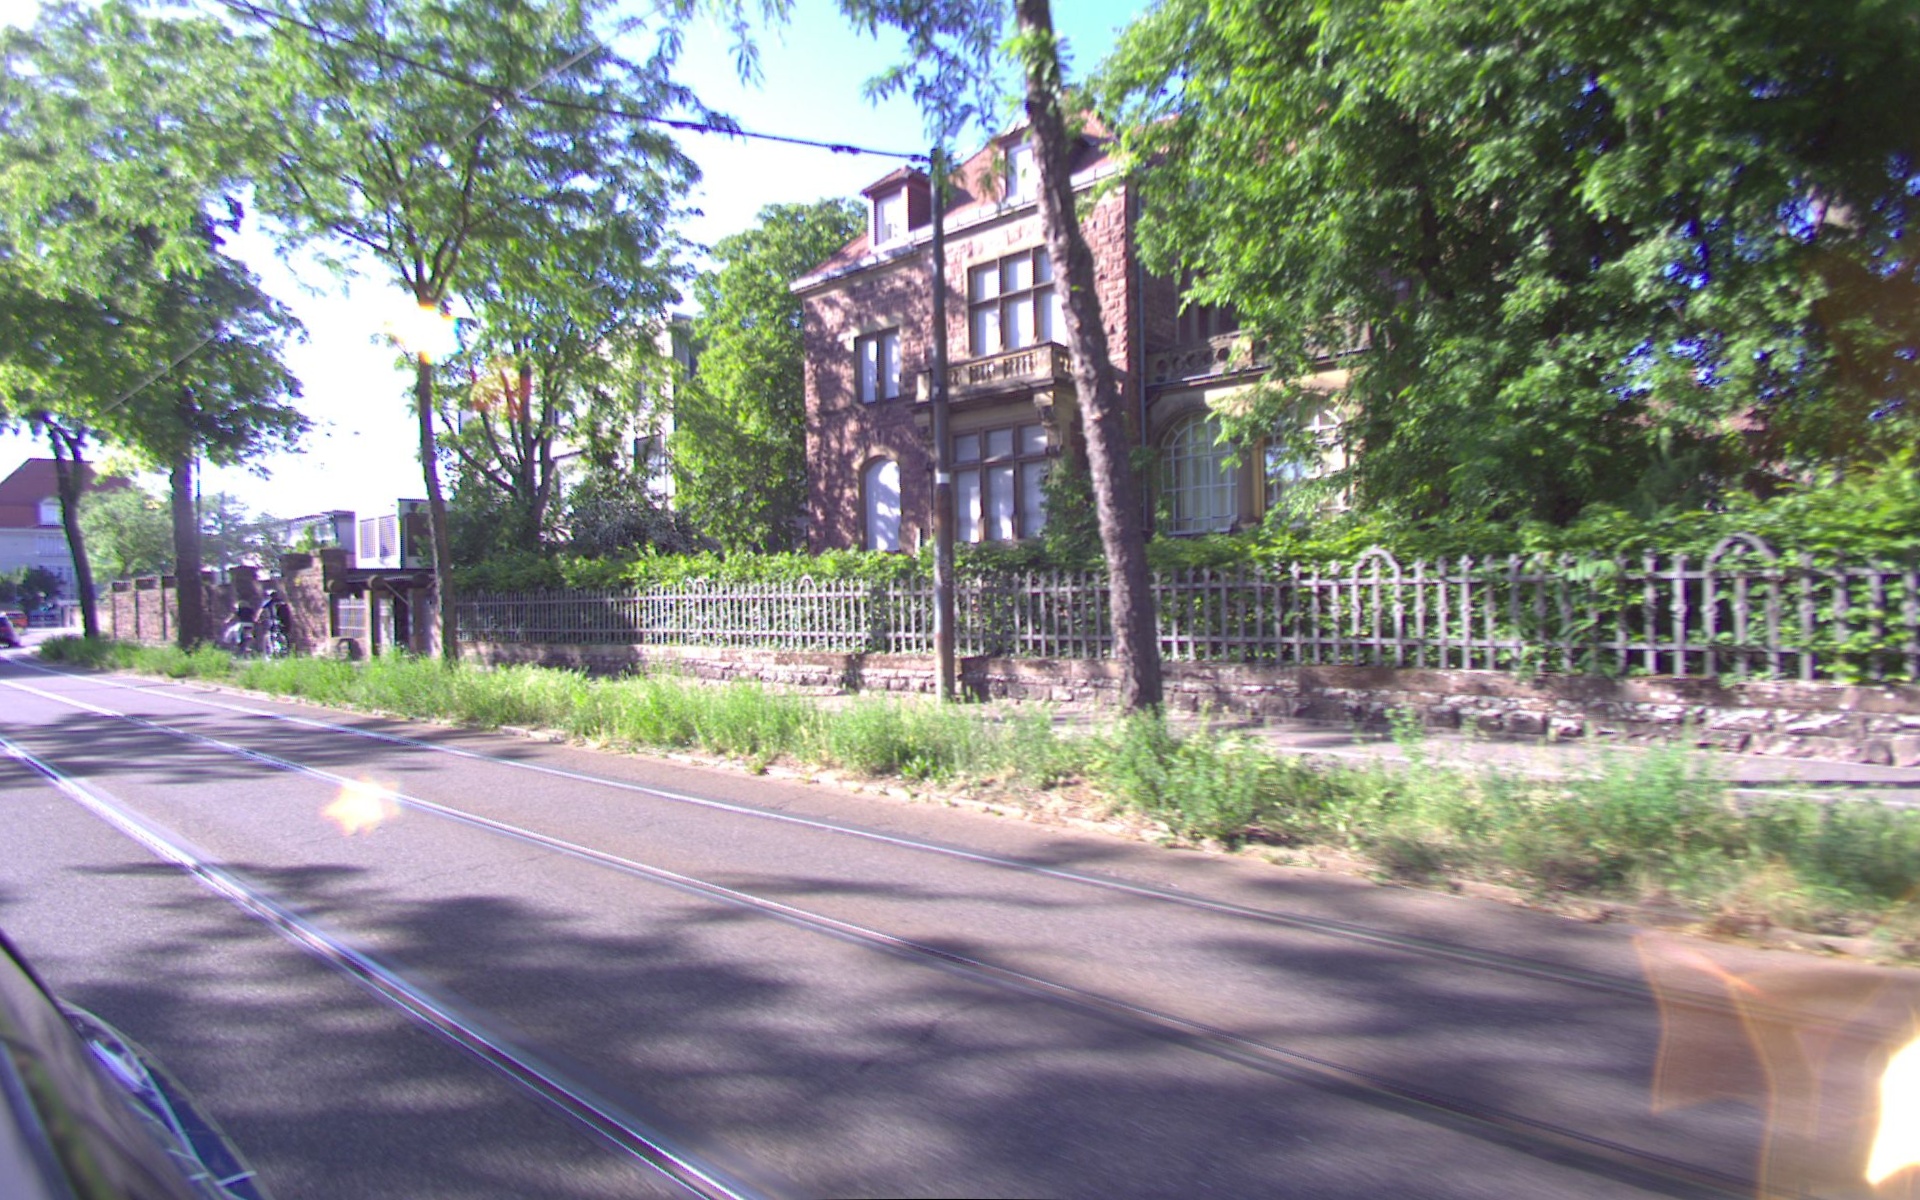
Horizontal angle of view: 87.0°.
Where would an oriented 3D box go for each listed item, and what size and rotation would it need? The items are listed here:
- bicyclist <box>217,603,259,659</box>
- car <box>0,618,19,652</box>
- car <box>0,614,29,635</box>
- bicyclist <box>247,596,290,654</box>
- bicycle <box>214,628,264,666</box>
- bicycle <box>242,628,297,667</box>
[{"bbox_3d":[-20.528,0.872,28.763,0.956,1.510,0.702,-1,2,41],"label":"bicyclist"},{"bbox_3d":[-45.547,1.663,47.392,4.033,1.535,1.730,-1,0,41],"label":"car"},{"bbox_3d":[-91.028,2.330,97.147,4.932,1.980,1.972,-1,0,42],"label":"car"},{"bbox_3d":[-18.223,0.646,26.667,1.041,1.481,0.701,-1,0,42],"label":"bicyclist"},{"bbox_3d":[-20.513,1.312,28.781,1.888,0.981,0.710,0,2,41],"label":"bicycle"},{"bbox_3d":[-18.199,1.238,26.664,2.094,0.967,0.703,-1,0,42],"label":"bicycle"}]
